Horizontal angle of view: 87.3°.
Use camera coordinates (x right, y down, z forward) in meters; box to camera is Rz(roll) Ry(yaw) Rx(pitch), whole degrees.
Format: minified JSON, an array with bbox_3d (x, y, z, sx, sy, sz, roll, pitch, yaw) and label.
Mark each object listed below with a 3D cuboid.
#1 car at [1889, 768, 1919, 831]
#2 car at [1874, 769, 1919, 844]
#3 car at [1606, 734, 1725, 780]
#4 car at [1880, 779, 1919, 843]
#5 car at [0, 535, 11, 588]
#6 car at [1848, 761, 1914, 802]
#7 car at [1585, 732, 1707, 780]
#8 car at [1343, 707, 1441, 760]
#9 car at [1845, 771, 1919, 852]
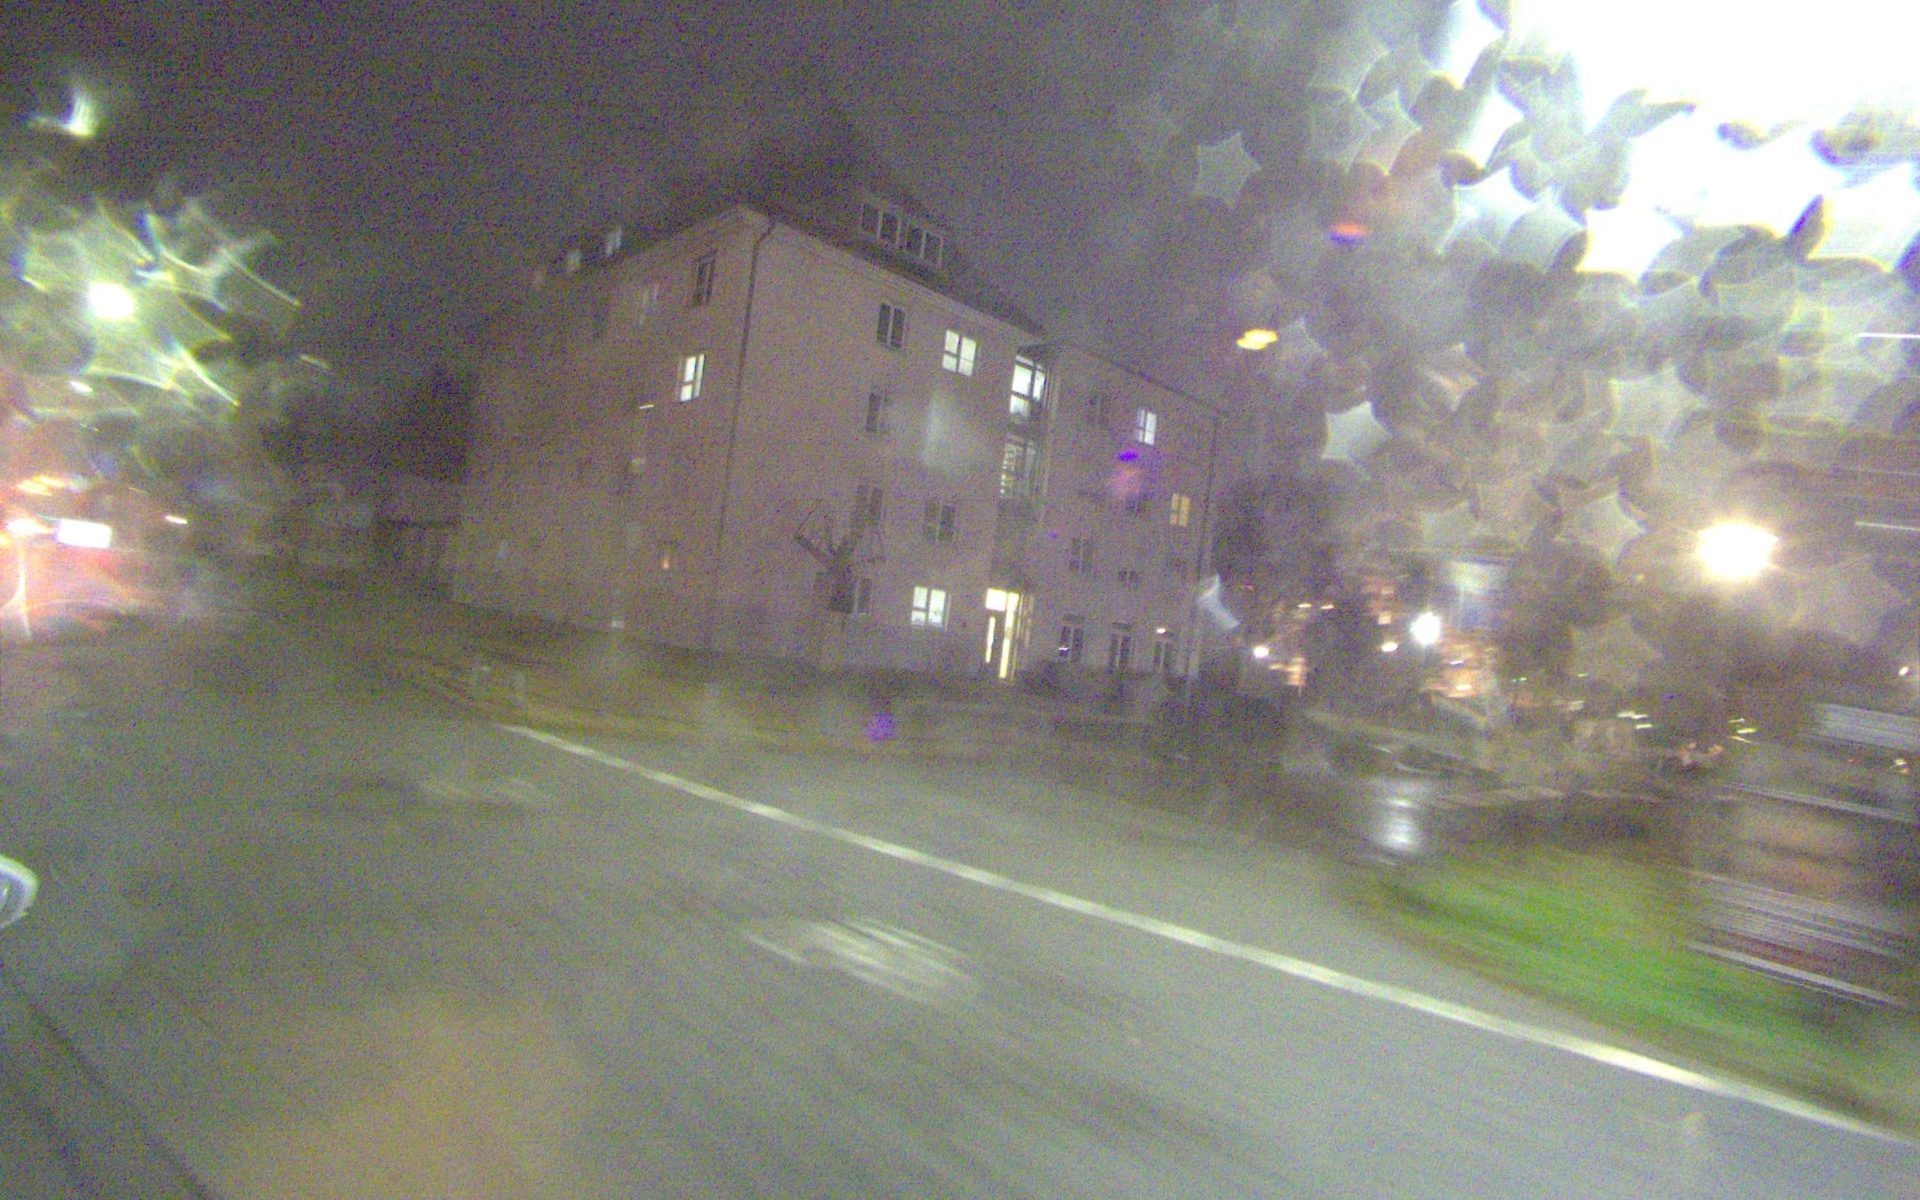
[{"bbox_3d":[28.913,5.851,27.548,1.985,1.653,4.768,10,-5,-37],"label":"car"},{"bbox_3d":[23.121,4.881,22.446,1.481,1.585,3.836,9,-4,-42],"label":"car"},{"bbox_3d":[32.907,7.313,46.977,1.987,1.515,4.138,8,-4,-42],"label":"car"},{"bbox_3d":[26.637,5.705,25.815,1.984,1.538,4.145,8,-3,-37],"label":"car"},{"bbox_3d":[-31.084,-1.345,31.254,1.990,1.701,3.955,12,-6,-41],"label":"car"},{"bbox_3d":[47.382,9.342,51.741,3.973,1.692,1.979,10,-4,-40],"label":"car"},{"bbox_3d":[30.900,7.013,45.412,1.987,1.515,4.139,8,-4,-42],"label":"car"},{"bbox_3d":[21.109,6.498,49.182,3.938,2.036,1.996,4,-3,35],"label":"car"},{"bbox_3d":[20.920,4.578,20.633,1.478,1.463,3.974,9,-4,-43],"label":"car"}]
